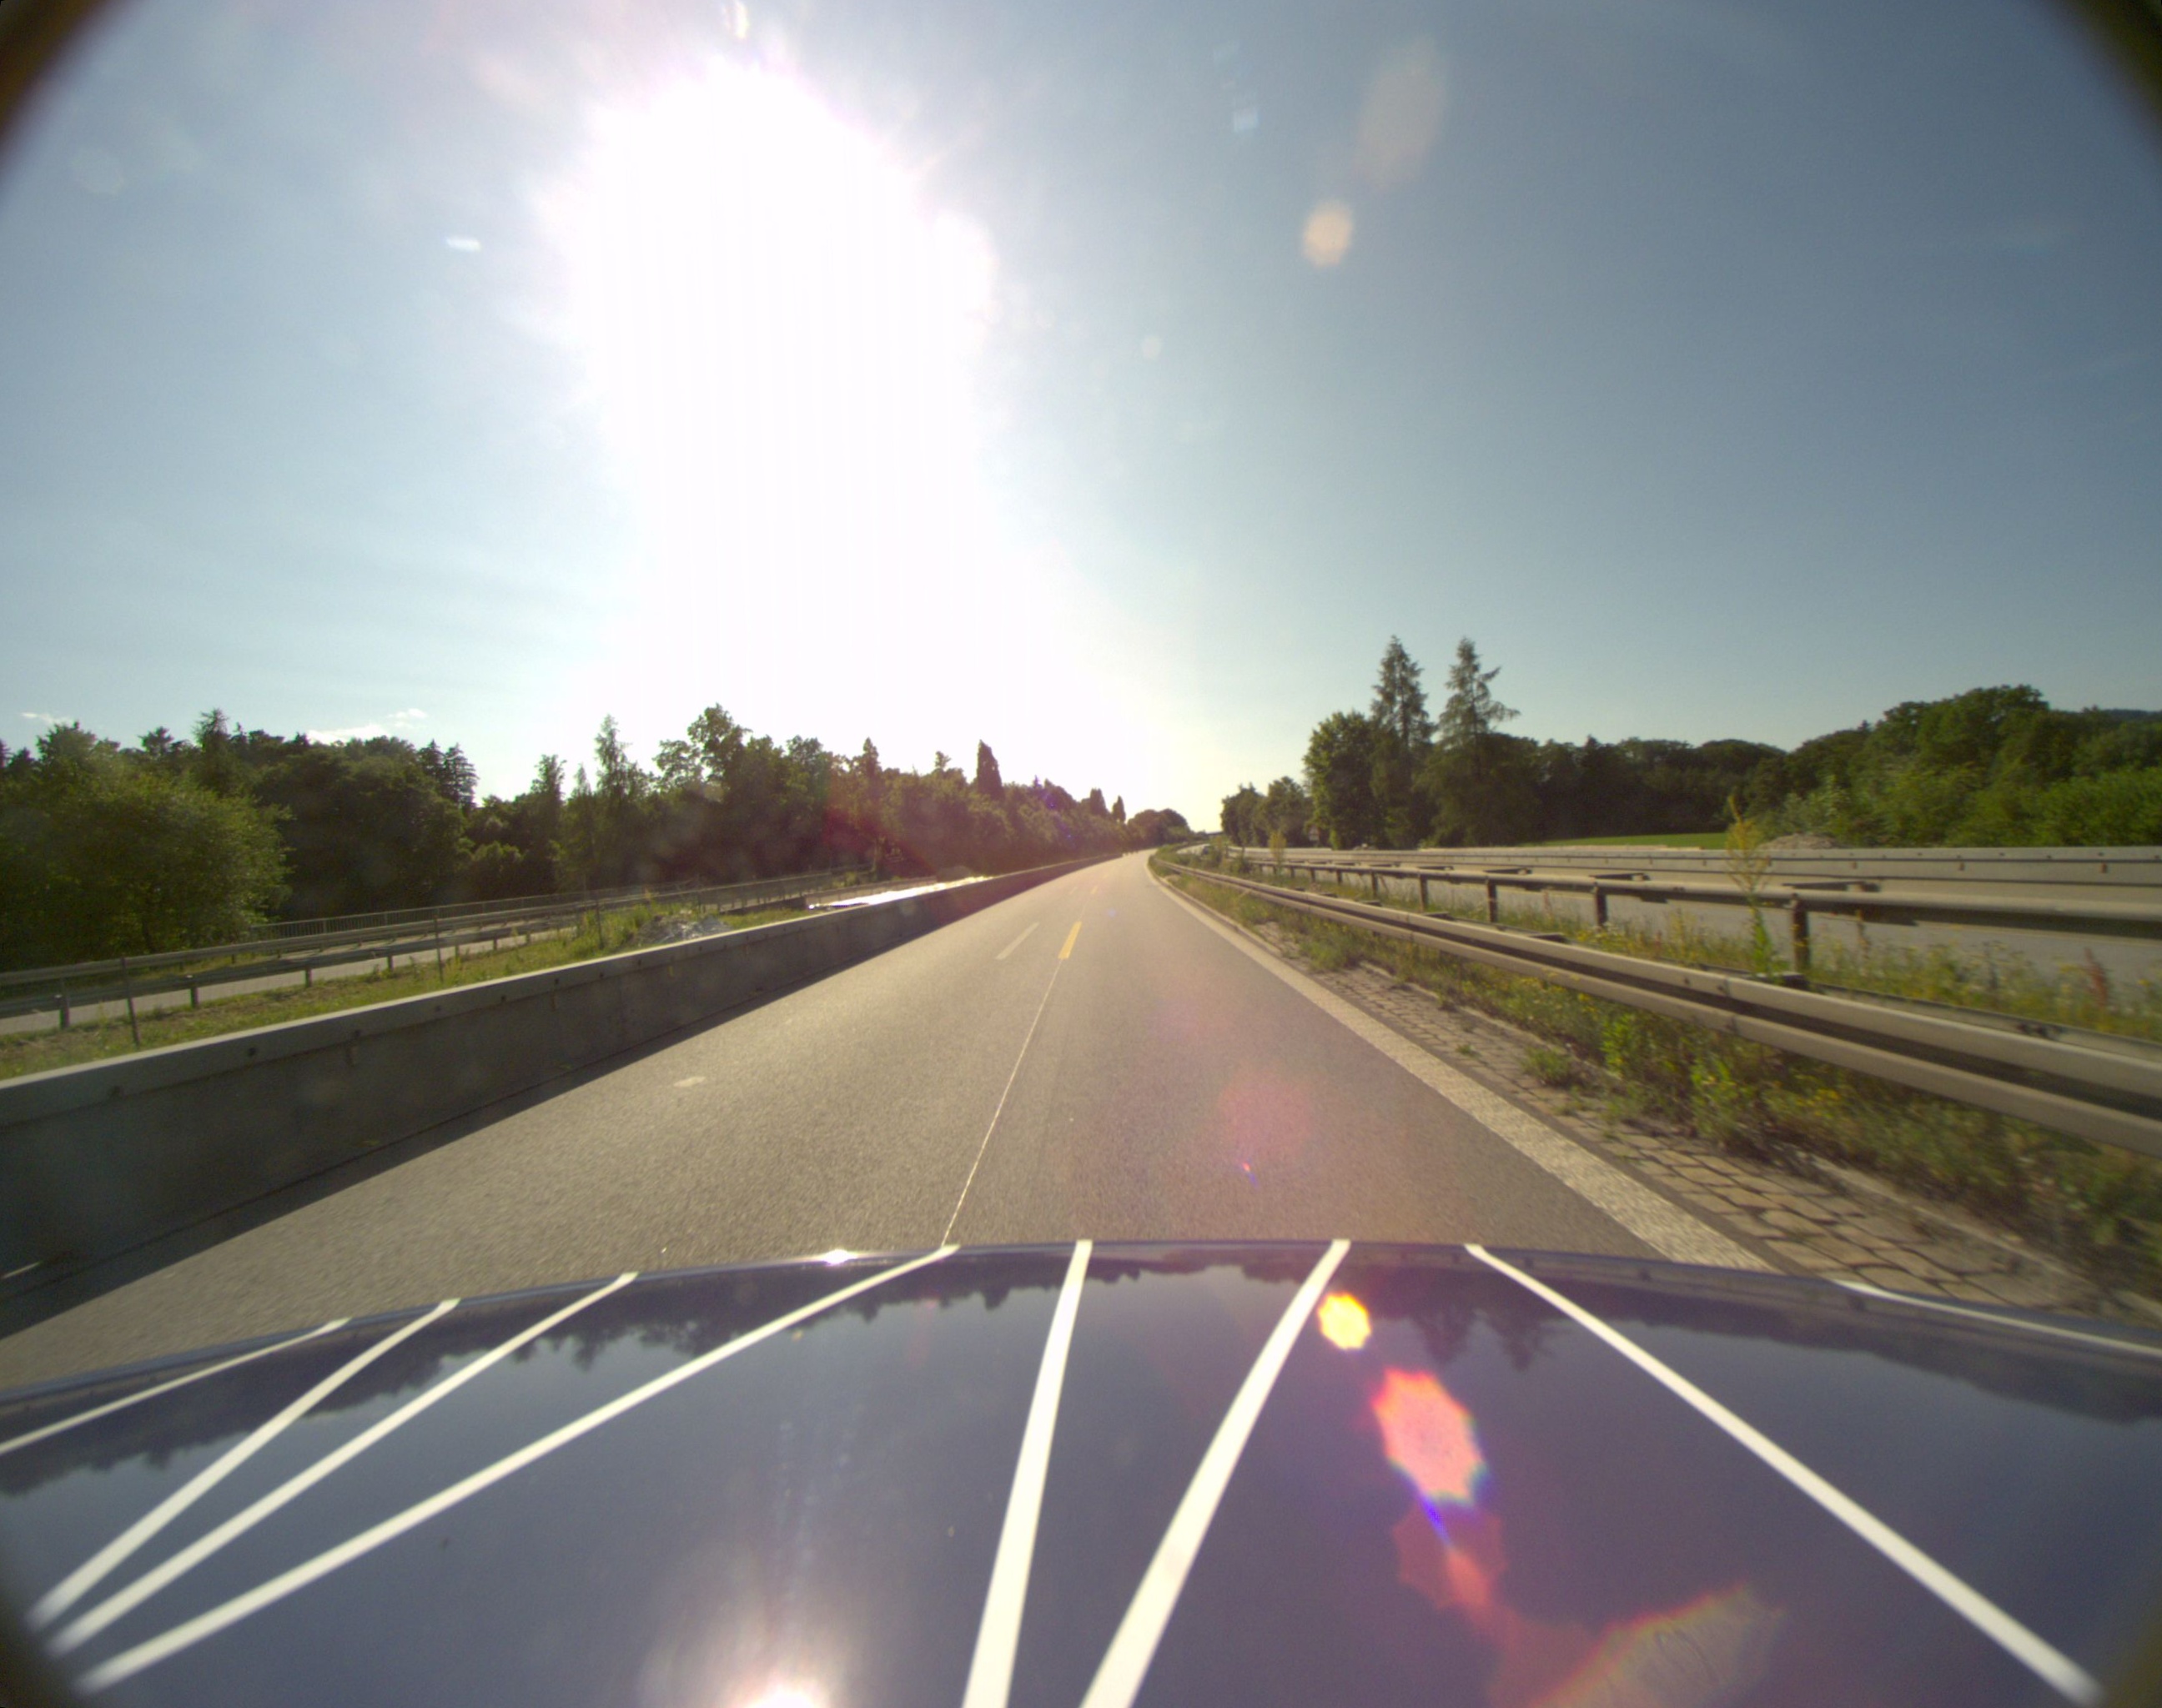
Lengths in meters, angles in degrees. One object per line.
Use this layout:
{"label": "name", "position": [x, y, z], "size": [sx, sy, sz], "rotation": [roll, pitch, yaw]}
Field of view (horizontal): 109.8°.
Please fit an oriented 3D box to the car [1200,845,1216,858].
{"label": "car", "position": [16.574, -0.334, 99.090], "size": [1.763, 1.503, 4.536], "rotation": [-2, 1, 6]}
